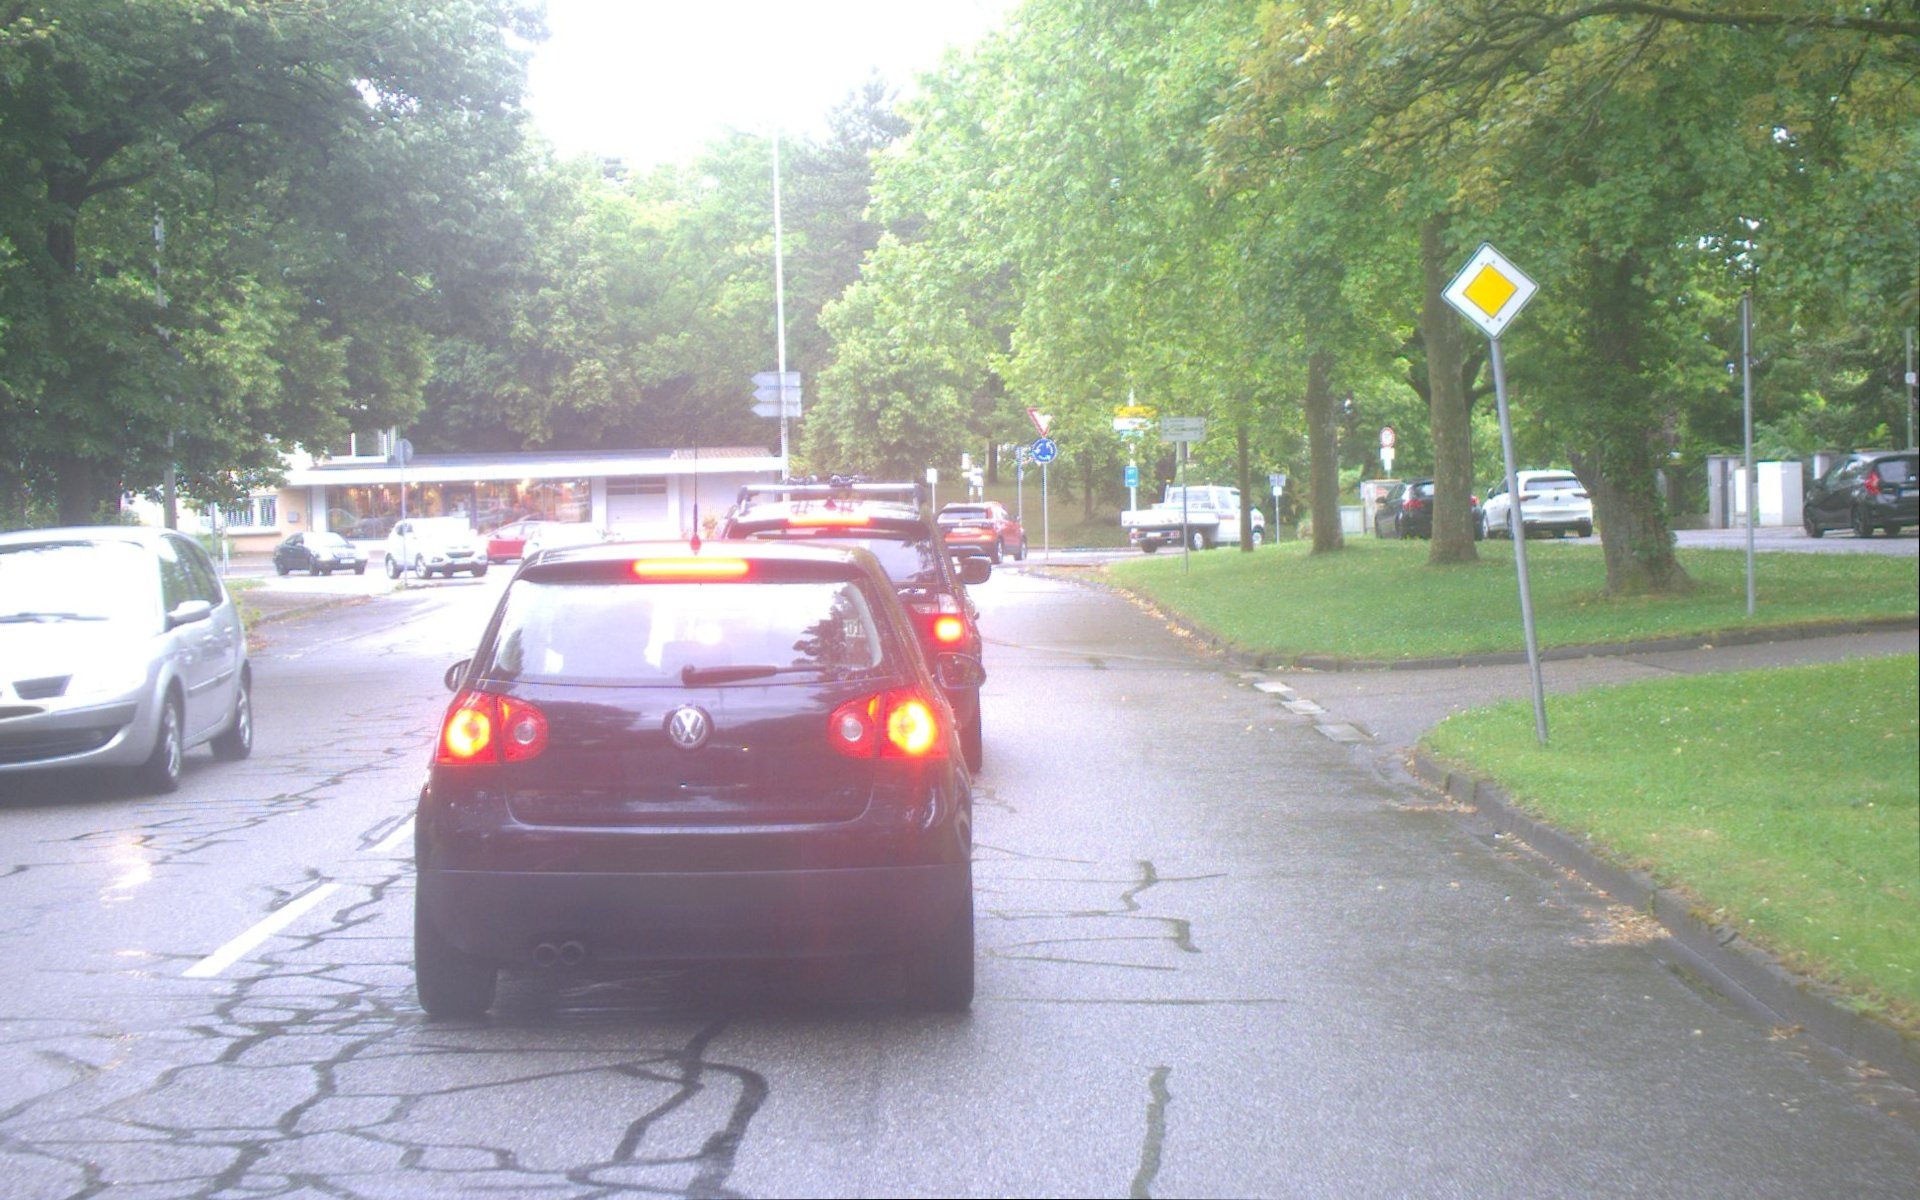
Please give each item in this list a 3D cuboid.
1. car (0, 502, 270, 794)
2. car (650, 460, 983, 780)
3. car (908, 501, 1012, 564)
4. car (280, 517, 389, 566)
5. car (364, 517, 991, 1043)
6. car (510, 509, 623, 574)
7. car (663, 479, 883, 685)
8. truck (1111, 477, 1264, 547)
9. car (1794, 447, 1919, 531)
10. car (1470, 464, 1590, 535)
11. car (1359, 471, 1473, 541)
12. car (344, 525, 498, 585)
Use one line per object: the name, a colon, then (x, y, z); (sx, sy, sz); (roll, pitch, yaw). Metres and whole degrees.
car: (-5.558, 0.237, 21.379); (1.763, 1.608, 4.142); (-2, 1, -2)
car: (-0.839, 0.069, 21.650); (1.855, 1.778, 4.000); (-2, 1, -1)
car: (0.018, -1.744, 87.801); (1.707, 1.508, 3.671); (-2, 1, 15)
car: (-19.874, -1.847, 109.110); (1.797, 1.388, 3.978); (-5, 2, -36)
car: (-0.835, 0.484, 11.802); (1.798, 1.510, 3.754); (0, 1, -1)
car: (-9.347, -1.413, 81.353); (1.607, 1.422, 4.009); (-3, 3, -22)
car: (-1.706, -0.198, 32.498); (1.855, 1.778, 4.000); (-2, 1, -1)
truck: (6.840, -2.653, 102.988); (2.421, 1.998, 5.142); (-1, 1, 31)
car: (16.600, -2.028, 62.087); (1.801, 1.406, 4.113); (-3, 2, -3)
car: (12.379, -2.200, 74.876); (1.803, 1.401, 4.001); (-3, 2, -1)
car: (9.889, -2.060, 74.746); (1.803, 1.380, 4.001); (-3, 2, -1)
car: (-14.856, -1.234, 94.794); (3.796, 1.612, 1.776); (0, 1, 22)
